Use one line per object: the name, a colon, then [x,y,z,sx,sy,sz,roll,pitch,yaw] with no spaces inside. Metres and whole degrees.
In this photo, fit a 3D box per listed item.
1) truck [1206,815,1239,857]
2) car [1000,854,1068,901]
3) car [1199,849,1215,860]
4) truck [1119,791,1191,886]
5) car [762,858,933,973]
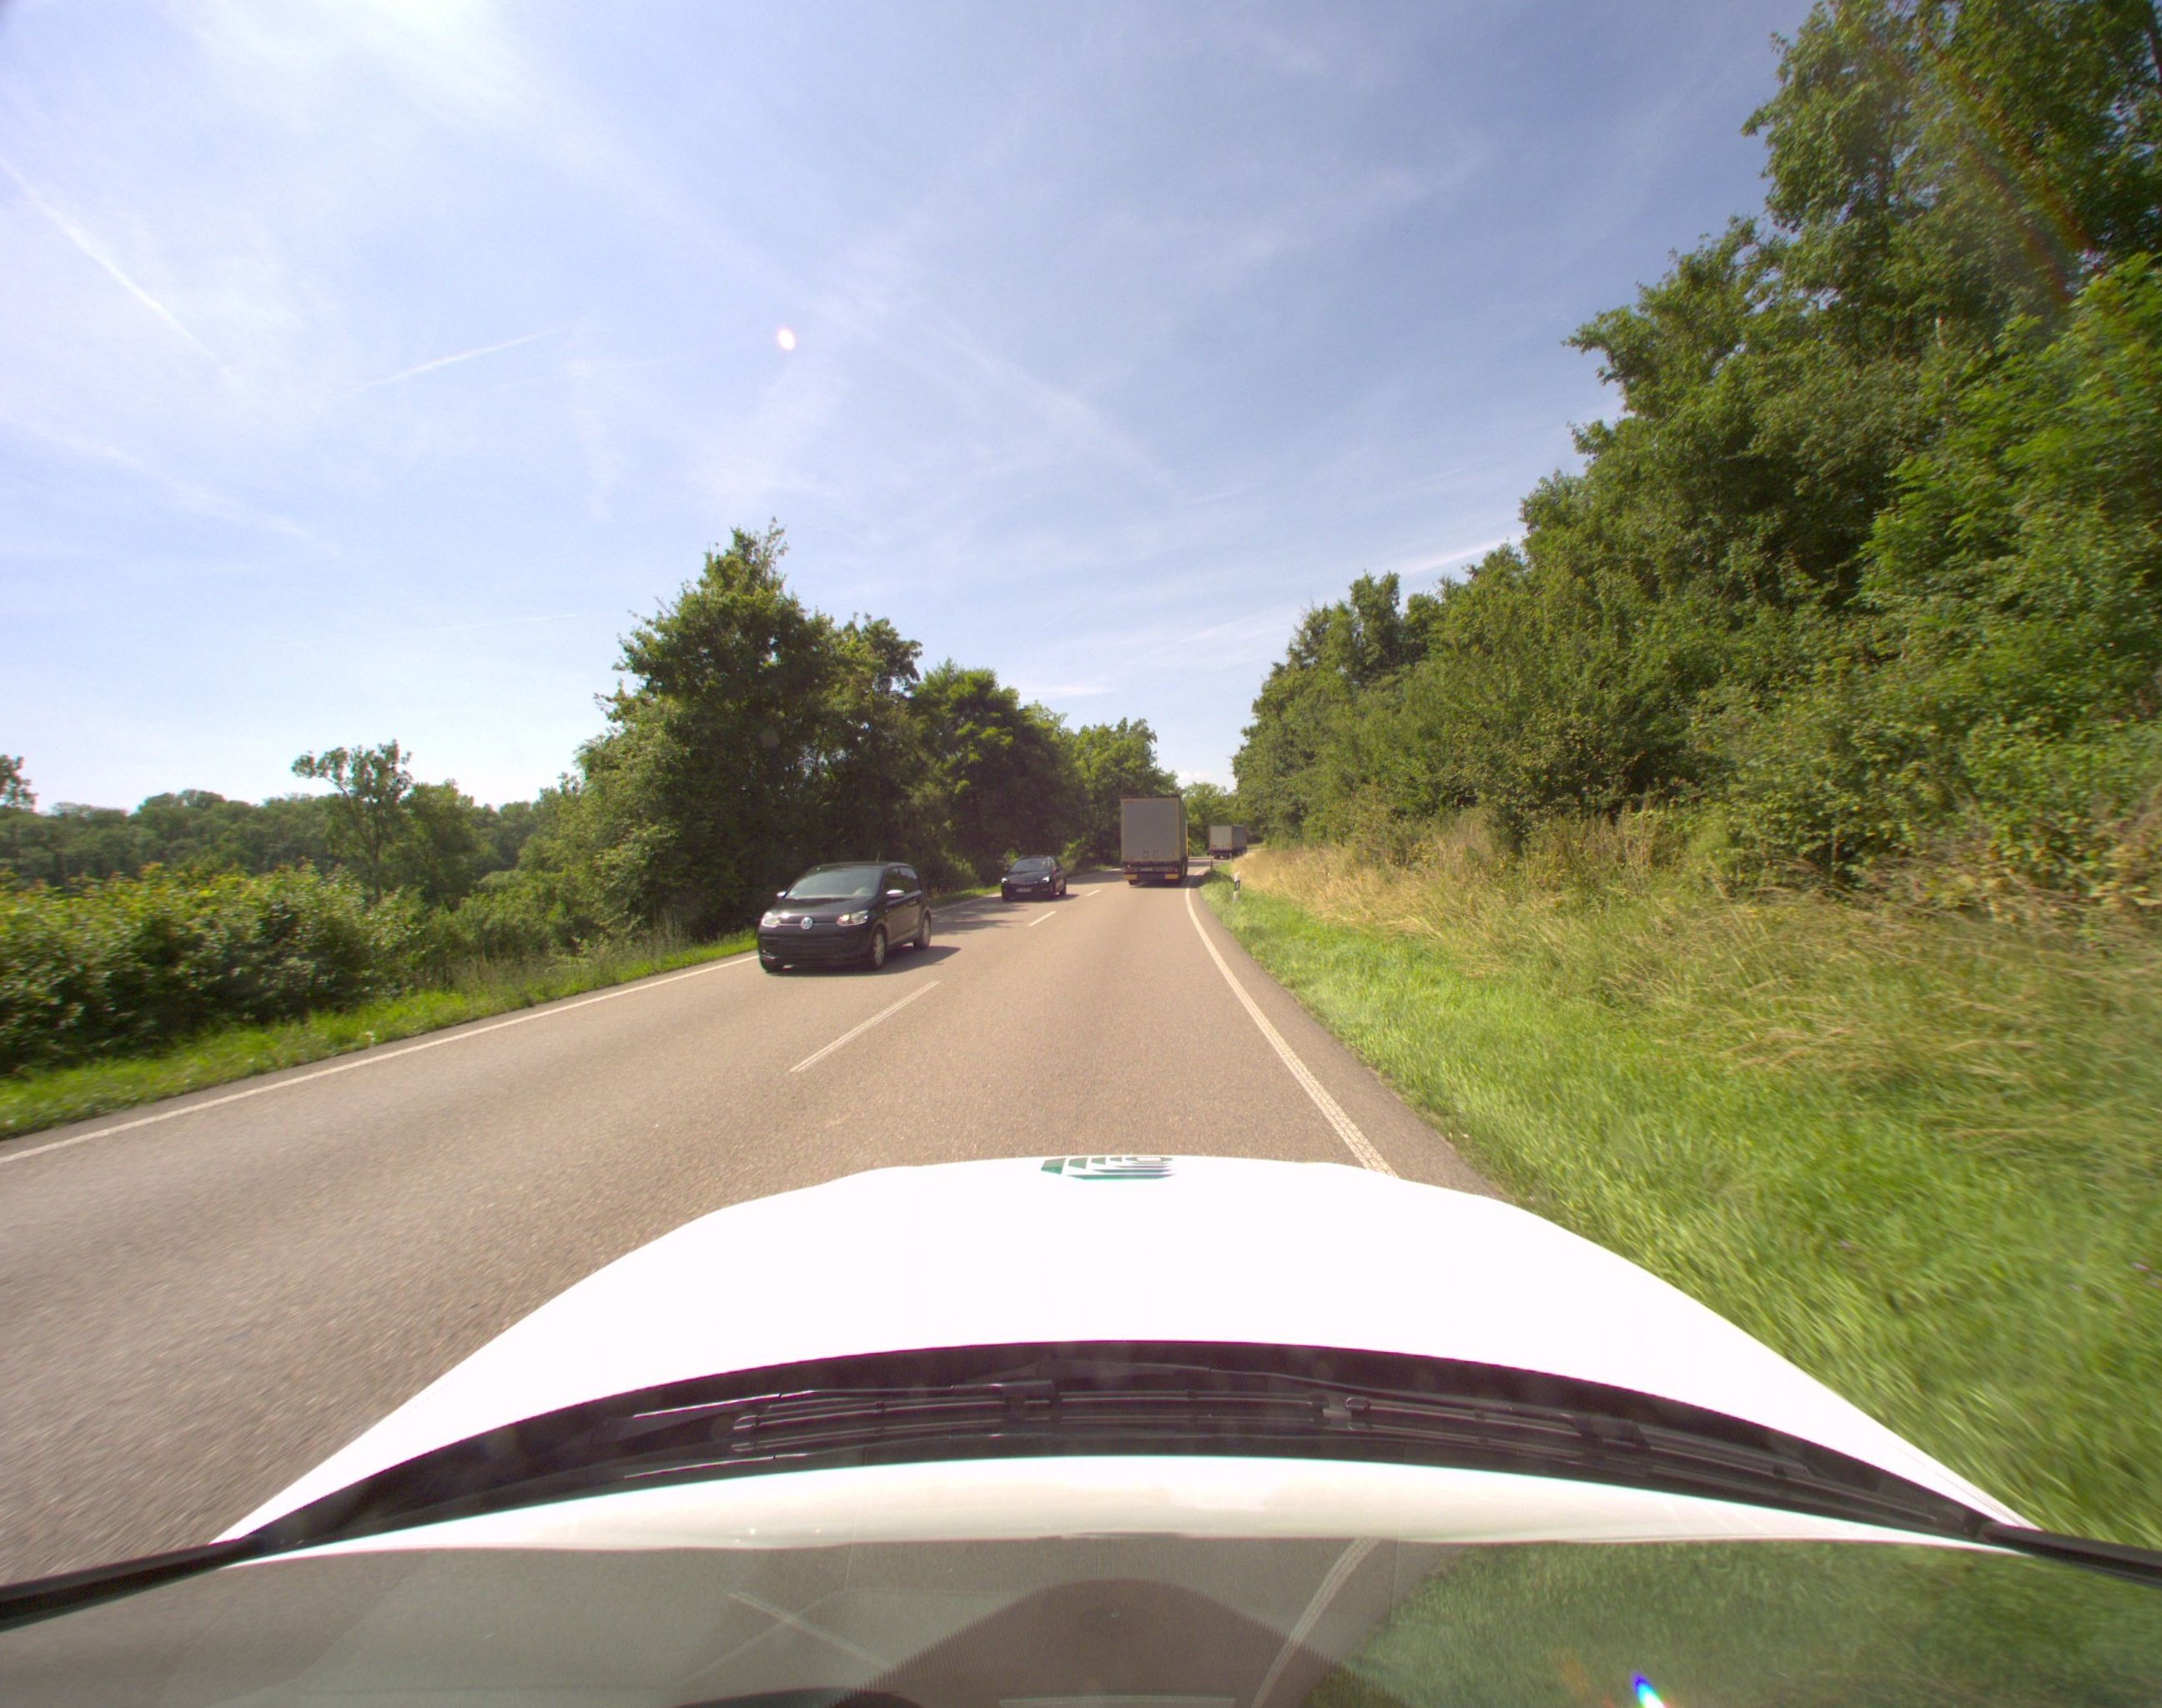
truck: [17.563,-2.249,100.217,3.084,4.705,16.648,-2,1,13]
car: [-1.567,0.770,28.557,1.701,1.471,4.381,-1,0,5]
car: [17.834,0.024,115.057,1.745,1.432,4.288,-1,0,16]
truck: [4.173,-0.658,42.498,2.785,4.068,15.362,-1,0,9]
car: [-3.341,0.810,12.245,1.423,1.471,3.275,-1,0,3]
